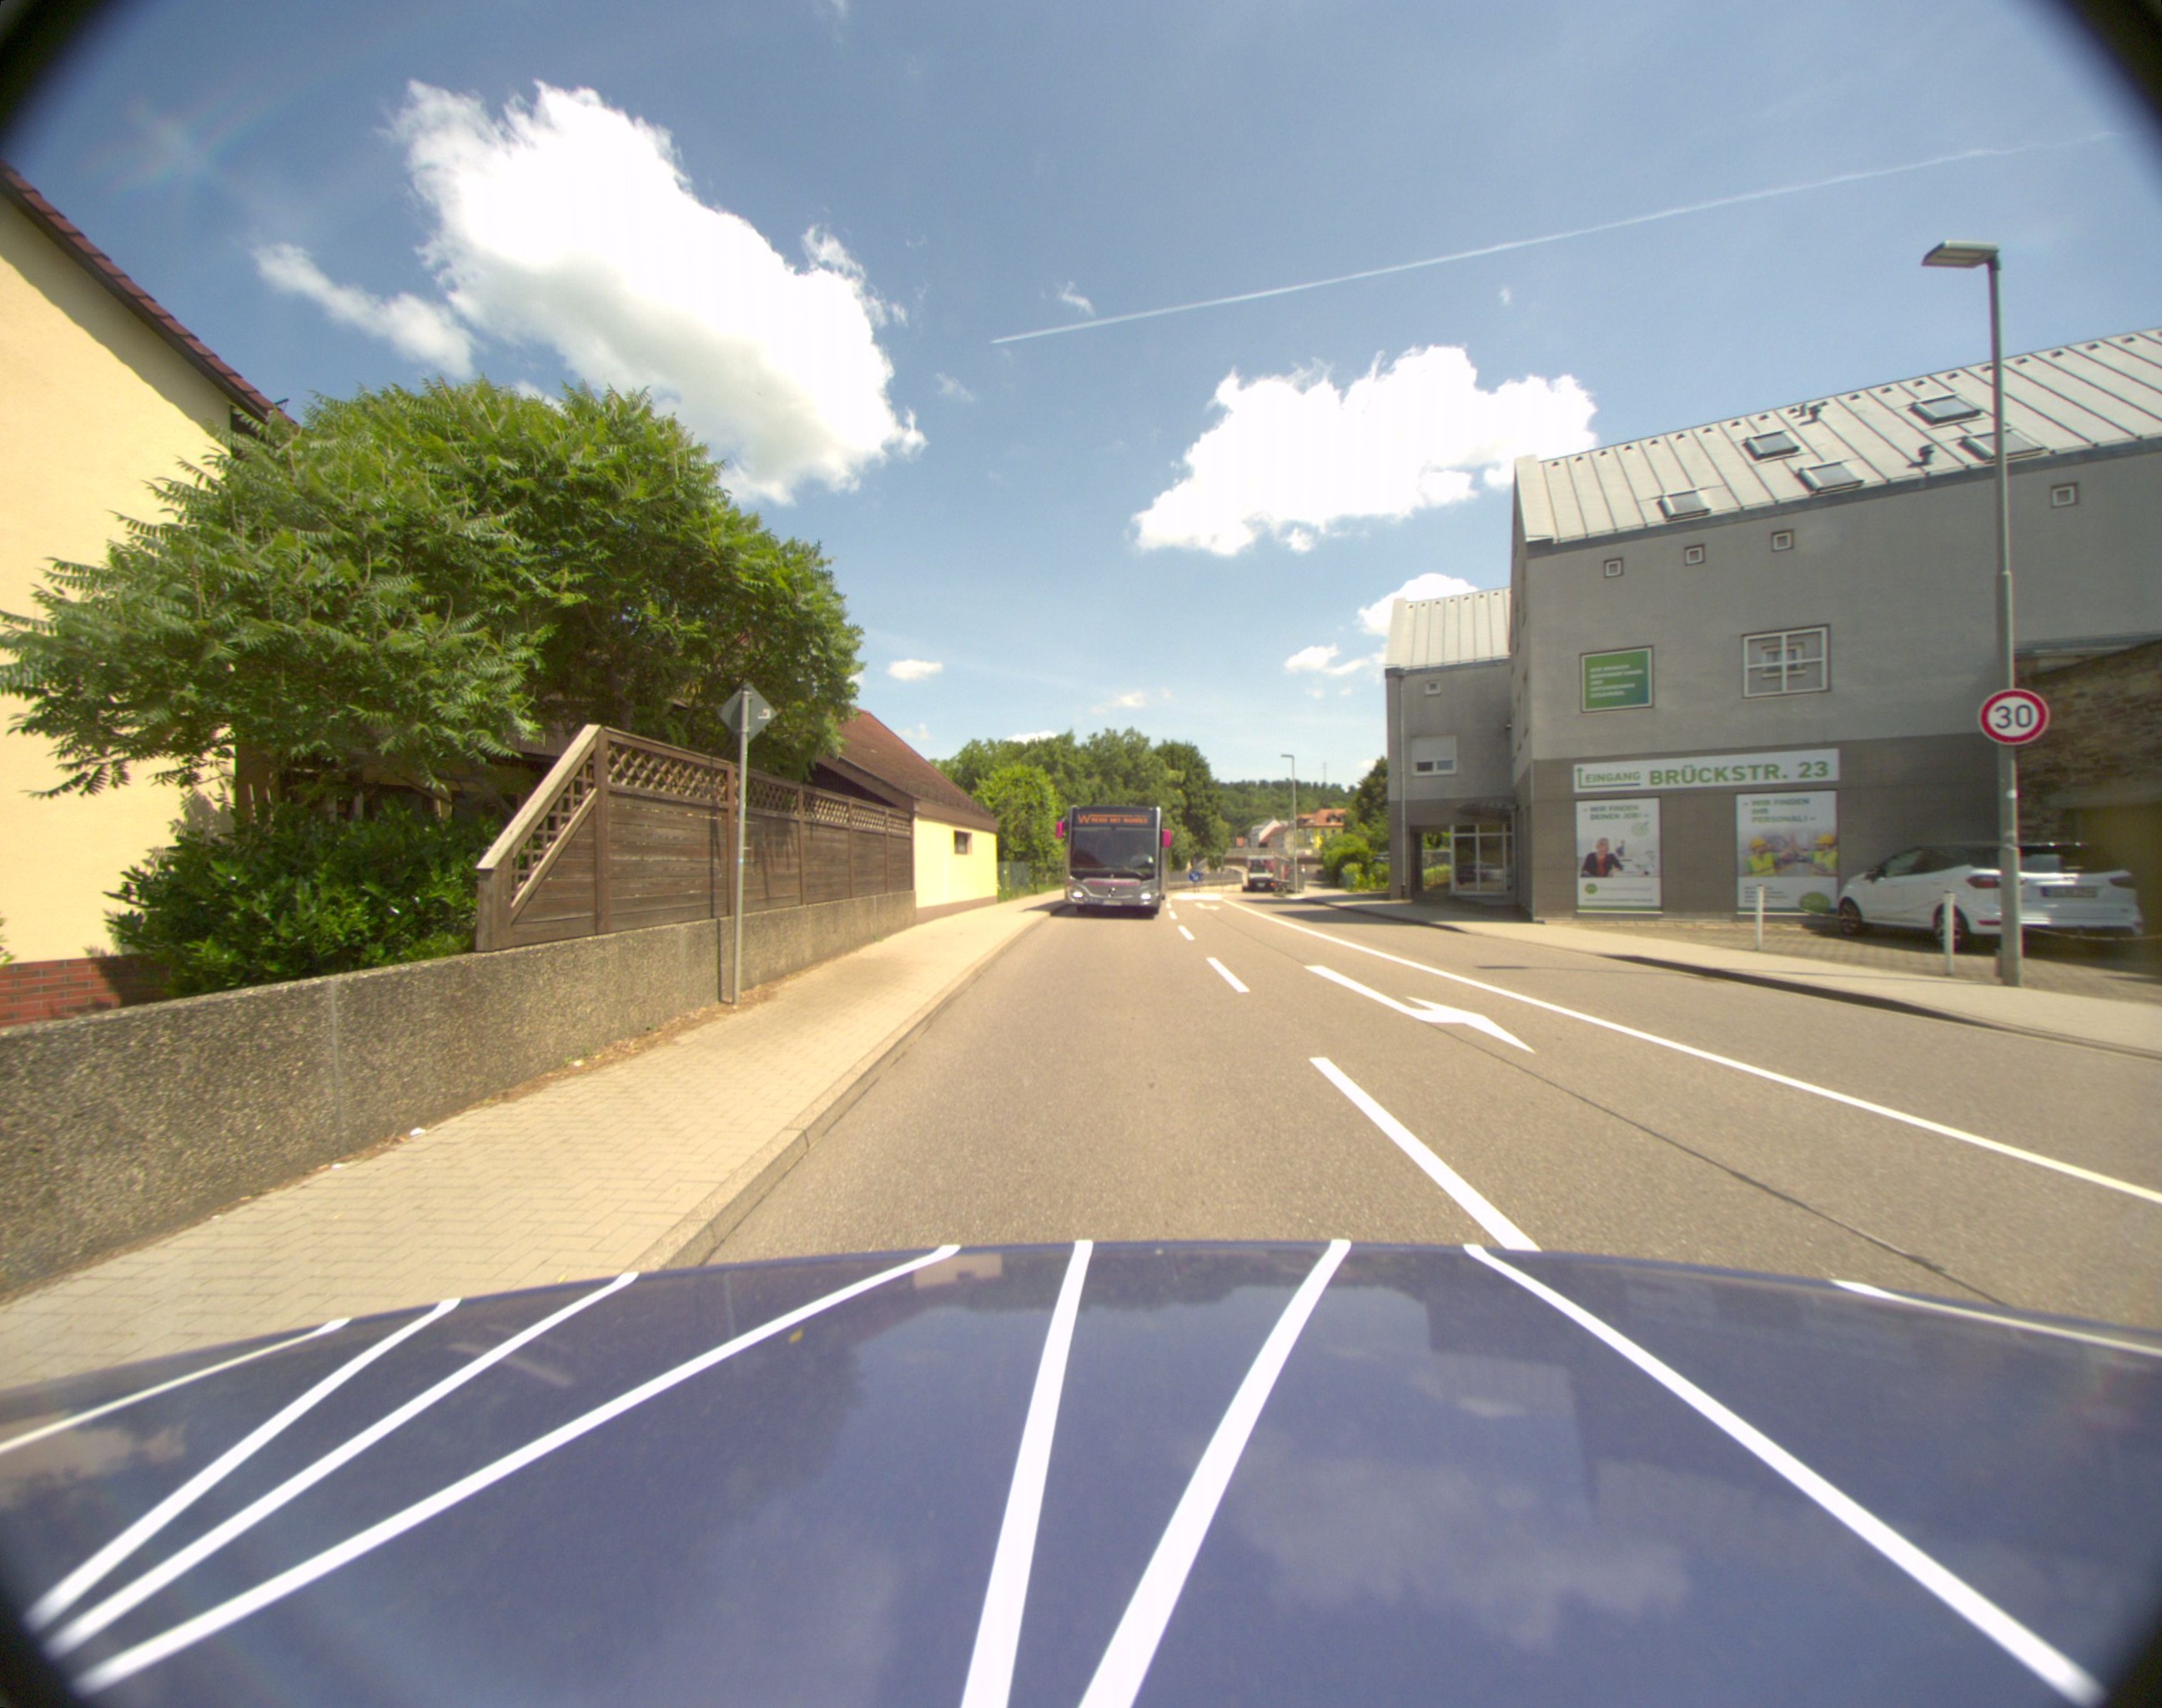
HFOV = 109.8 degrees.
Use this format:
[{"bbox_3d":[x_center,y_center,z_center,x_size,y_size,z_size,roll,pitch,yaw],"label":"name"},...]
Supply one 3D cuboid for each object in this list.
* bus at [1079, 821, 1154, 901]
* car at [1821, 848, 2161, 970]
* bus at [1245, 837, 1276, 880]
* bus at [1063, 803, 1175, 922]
[{"bbox_3d":[1.460,0.442,32.837,2.755,2.949,9.285,0,-2,2],"label":"bus"},{"bbox_3d":[14.093,0.734,12.000,1.995,1.565,4.260,0,-1,22],"label":"car"},{"bbox_3d":[18.251,0.587,77.007,2.814,3.977,10.983,-1,-2,14],"label":"bus"},{"bbox_3d":[1.142,0.377,23.567,2.755,2.949,9.285,0,-2,2],"label":"bus"}]
